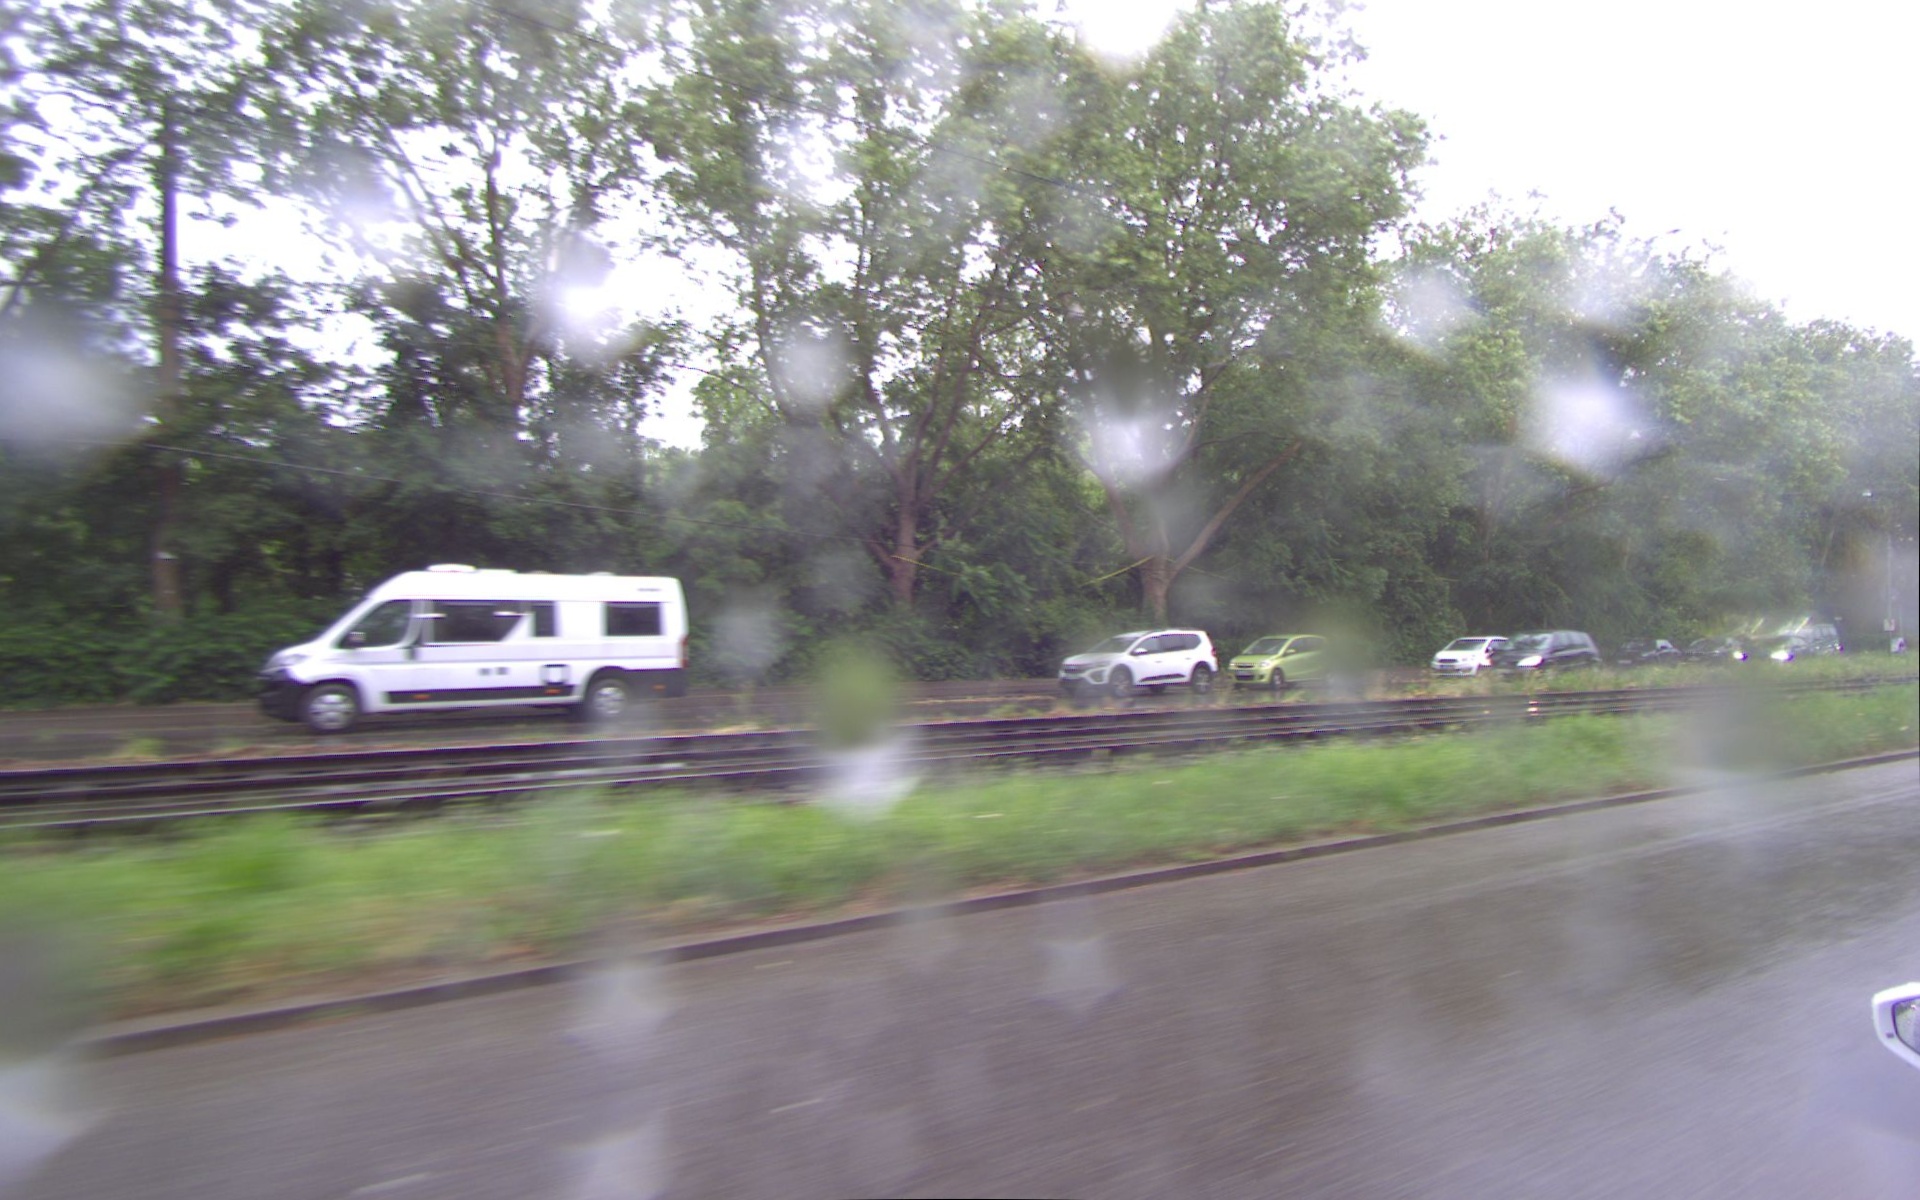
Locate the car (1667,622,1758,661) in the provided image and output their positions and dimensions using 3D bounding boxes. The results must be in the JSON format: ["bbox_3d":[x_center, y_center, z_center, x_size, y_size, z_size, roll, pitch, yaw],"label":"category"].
[{"bbox_3d":[34.959,1.905,46.632,4.563,1.679,2.019,2,-1,-34],"label":"car"}]

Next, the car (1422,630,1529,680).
[{"bbox_3d":[18.170,1.928,35.361,3.774,1.670,1.750,2,-3,-34],"label":"car"}]

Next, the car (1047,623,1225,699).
[{"bbox_3d":[4.482,1.500,25.297,4.485,1.750,1.739,2,-3,-34],"label":"car"}]

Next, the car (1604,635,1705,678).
[{"bbox_3d":[29.255,2.351,42.255,4.563,1.679,2.019,2,-2,-35],"label":"car"}]

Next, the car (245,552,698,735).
[{"bbox_3d":[-7.981,0.736,16.934,6.499,2.574,2.375,2,-3,-34],"label":"car"}]

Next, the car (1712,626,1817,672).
[{"bbox_3d":[32.682,1.976,40.777,4.646,1.774,2.019,2,-3,-34],"label":"car"}]

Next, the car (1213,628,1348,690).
[{"bbox_3d":[9.234,1.672,28.894,3.774,1.670,1.750,2,-3,-34],"label":"car"}]

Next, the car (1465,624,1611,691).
[{"bbox_3d":[16.674,1.631,28.945,4.216,1.774,2.019,2,-3,-34],"label":"car"}]
